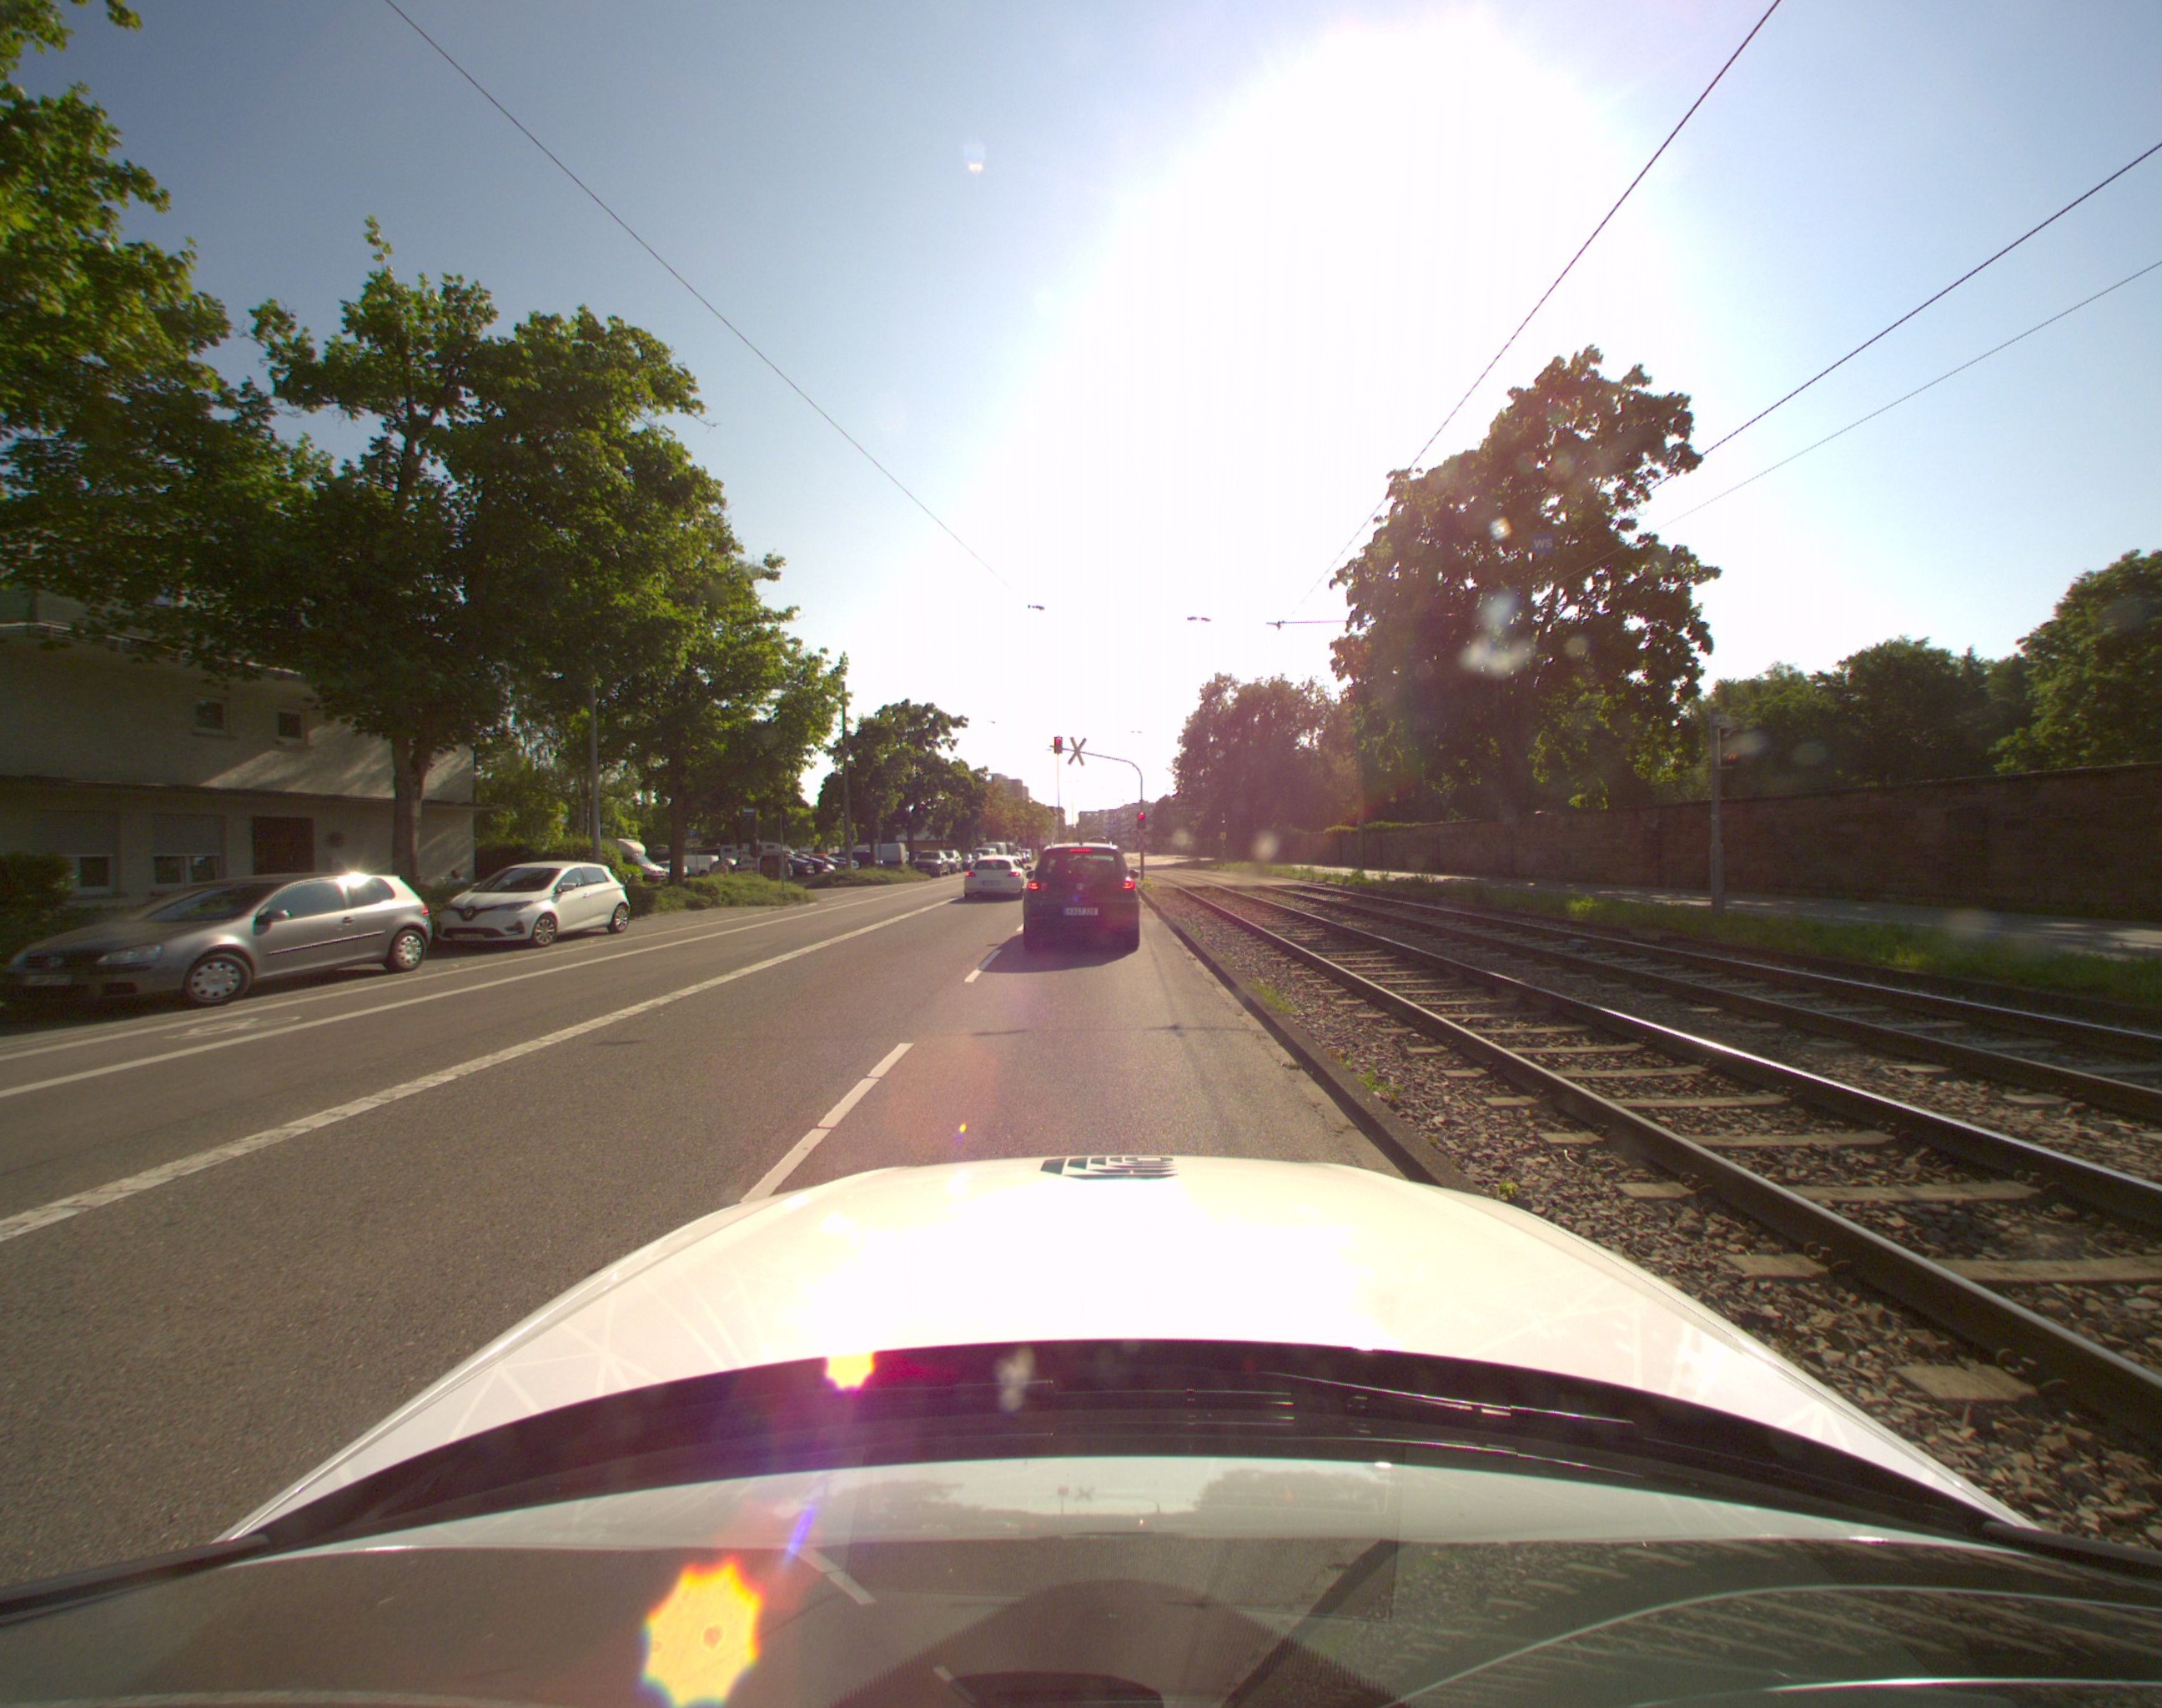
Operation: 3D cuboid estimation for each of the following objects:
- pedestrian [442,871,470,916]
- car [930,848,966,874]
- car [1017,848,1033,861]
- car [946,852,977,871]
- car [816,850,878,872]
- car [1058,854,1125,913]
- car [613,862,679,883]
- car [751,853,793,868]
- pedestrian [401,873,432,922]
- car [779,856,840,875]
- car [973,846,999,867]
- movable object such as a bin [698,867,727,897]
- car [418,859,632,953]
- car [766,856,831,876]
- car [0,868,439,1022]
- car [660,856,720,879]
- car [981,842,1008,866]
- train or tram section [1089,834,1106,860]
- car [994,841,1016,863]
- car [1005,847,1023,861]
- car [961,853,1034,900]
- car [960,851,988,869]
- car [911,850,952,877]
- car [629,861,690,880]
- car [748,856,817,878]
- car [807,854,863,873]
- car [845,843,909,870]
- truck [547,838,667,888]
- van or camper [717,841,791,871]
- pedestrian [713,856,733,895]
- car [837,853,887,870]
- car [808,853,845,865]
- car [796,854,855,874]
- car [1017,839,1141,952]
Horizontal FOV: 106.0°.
[{"bbox_3d":[-17.492,1.107,22.809,0.442,1.217,0.392,-1,0,9],"label":"pedestrian"},{"bbox_3d":[-9.650,0.476,59.164,1.725,1.694,4.003,-1,1,3],"label":"car"},{"bbox_3d":[-7.792,0.053,113.043,1.725,1.694,4.003,-1,1,3],"label":"car"},{"bbox_3d":[-9.559,0.571,65.403,1.725,1.389,3.738,-1,1,3],"label":"car"},{"bbox_3d":[-19.646,0.587,68.572,4.604,1.651,2.048,-2,0,-1],"label":"car"},{"bbox_3d":[0.324,0.748,22.454,1.663,1.386,4.002,-2,0,2],"label":"car"},{"bbox_3d":[-32.748,1.373,61.388,3.977,1.457,1.736,-2,0,-2],"label":"car"},{"bbox_3d":[-32.079,0.646,84.642,3.653,1.397,1.736,-2,0,-2],"label":"car"},{"bbox_3d":[-16.136,1.059,19.777,0.344,1.162,0.447,-1,0,9],"label":"pedestrian"},{"bbox_3d":[-20.315,0.866,61.008,3.977,1.307,1.736,-2,0,-2],"label":"car"},{"bbox_3d":[-8.905,0.187,76.600,1.725,1.860,4.493,-1,0,3],"label":"car"},{"bbox_3d":[-15.178,1.151,33.575,0.540,1.146,1.261,-1,0,2],"label":"movable object such as a bin"},{"bbox_3d":[-10.672,0.918,16.005,1.596,1.550,3.892,1,0,-2],"label":"car"},{"bbox_3d":[-20.042,0.827,57.844,3.977,1.307,1.736,-2,0,-2],"label":"car"},{"bbox_3d":[-10.670,0.987,10.485,1.672,1.468,3.967,-1,0,-1],"label":"car"},{"bbox_3d":[-31.893,1.049,66.477,3.982,1.728,1.623,-2,0,-6],"label":"car"},{"bbox_3d":[-8.800,-0.027,83.275,1.856,2.347,4.989,-1,0,3],"label":"car"},{"bbox_3d":[2.441,-1.038,118.880,2.318,3.570,8.903,-2,0,2],"label":"train or tram section"},{"bbox_3d":[-8.416,-0.227,90.100,1.725,2.268,4.648,-1,0,3],"label":"car"},{"bbox_3d":[-8.326,-0.029,101.752,1.725,1.694,4.003,-1,1,3],"label":"car"},{"bbox_3d":[-2.624,0.677,26.537,1.858,1.348,4.002,-1,0,1],"label":"car"},{"bbox_3d":[-9.353,0.505,71.286,1.725,1.450,3.738,-1,1,3],"label":"car"},{"bbox_3d":[-9.771,0.567,53.606,1.725,1.657,4.003,-1,0,3],"label":"car"},{"bbox_3d":[-33.202,1.279,64.149,3.966,1.361,1.630,-1,0,6],"label":"car"},{"bbox_3d":[-20.162,0.866,55.126,3.977,1.307,1.736,-2,0,-2],"label":"car"},{"bbox_3d":[-19.992,0.734,66.188,3.977,1.397,1.736,-2,0,-2],"label":"car"},{"bbox_3d":[-19.155,0.226,76.578,5.356,2.423,2.088,-2,0,1],"label":"car"},{"bbox_3d":[-32.719,0.590,56.357,6.941,3.242,1.987,-2,0,-1],"label":"truck"},{"bbox_3d":[-32.649,0.211,81.481,6.439,2.868,2.308,-1,0,2],"label":"van or camper"},{"bbox_3d":[-15.148,0.897,34.508,0.522,1.628,0.610,-1,0,1],"label":"pedestrian"},{"bbox_3d":[-19.654,0.679,73.105,3.977,1.397,1.736,-2,0,-2],"label":"car"},{"bbox_3d":[-31.769,0.617,101.733,3.977,1.397,1.736,-2,0,-2],"label":"car"},{"bbox_3d":[-19.795,0.751,63.215,3.977,1.397,1.736,-2,0,-2],"label":"car"},{"bbox_3d":[0.029,0.600,13.909,1.804,1.644,4.001,0,0,1],"label":"car"}]
